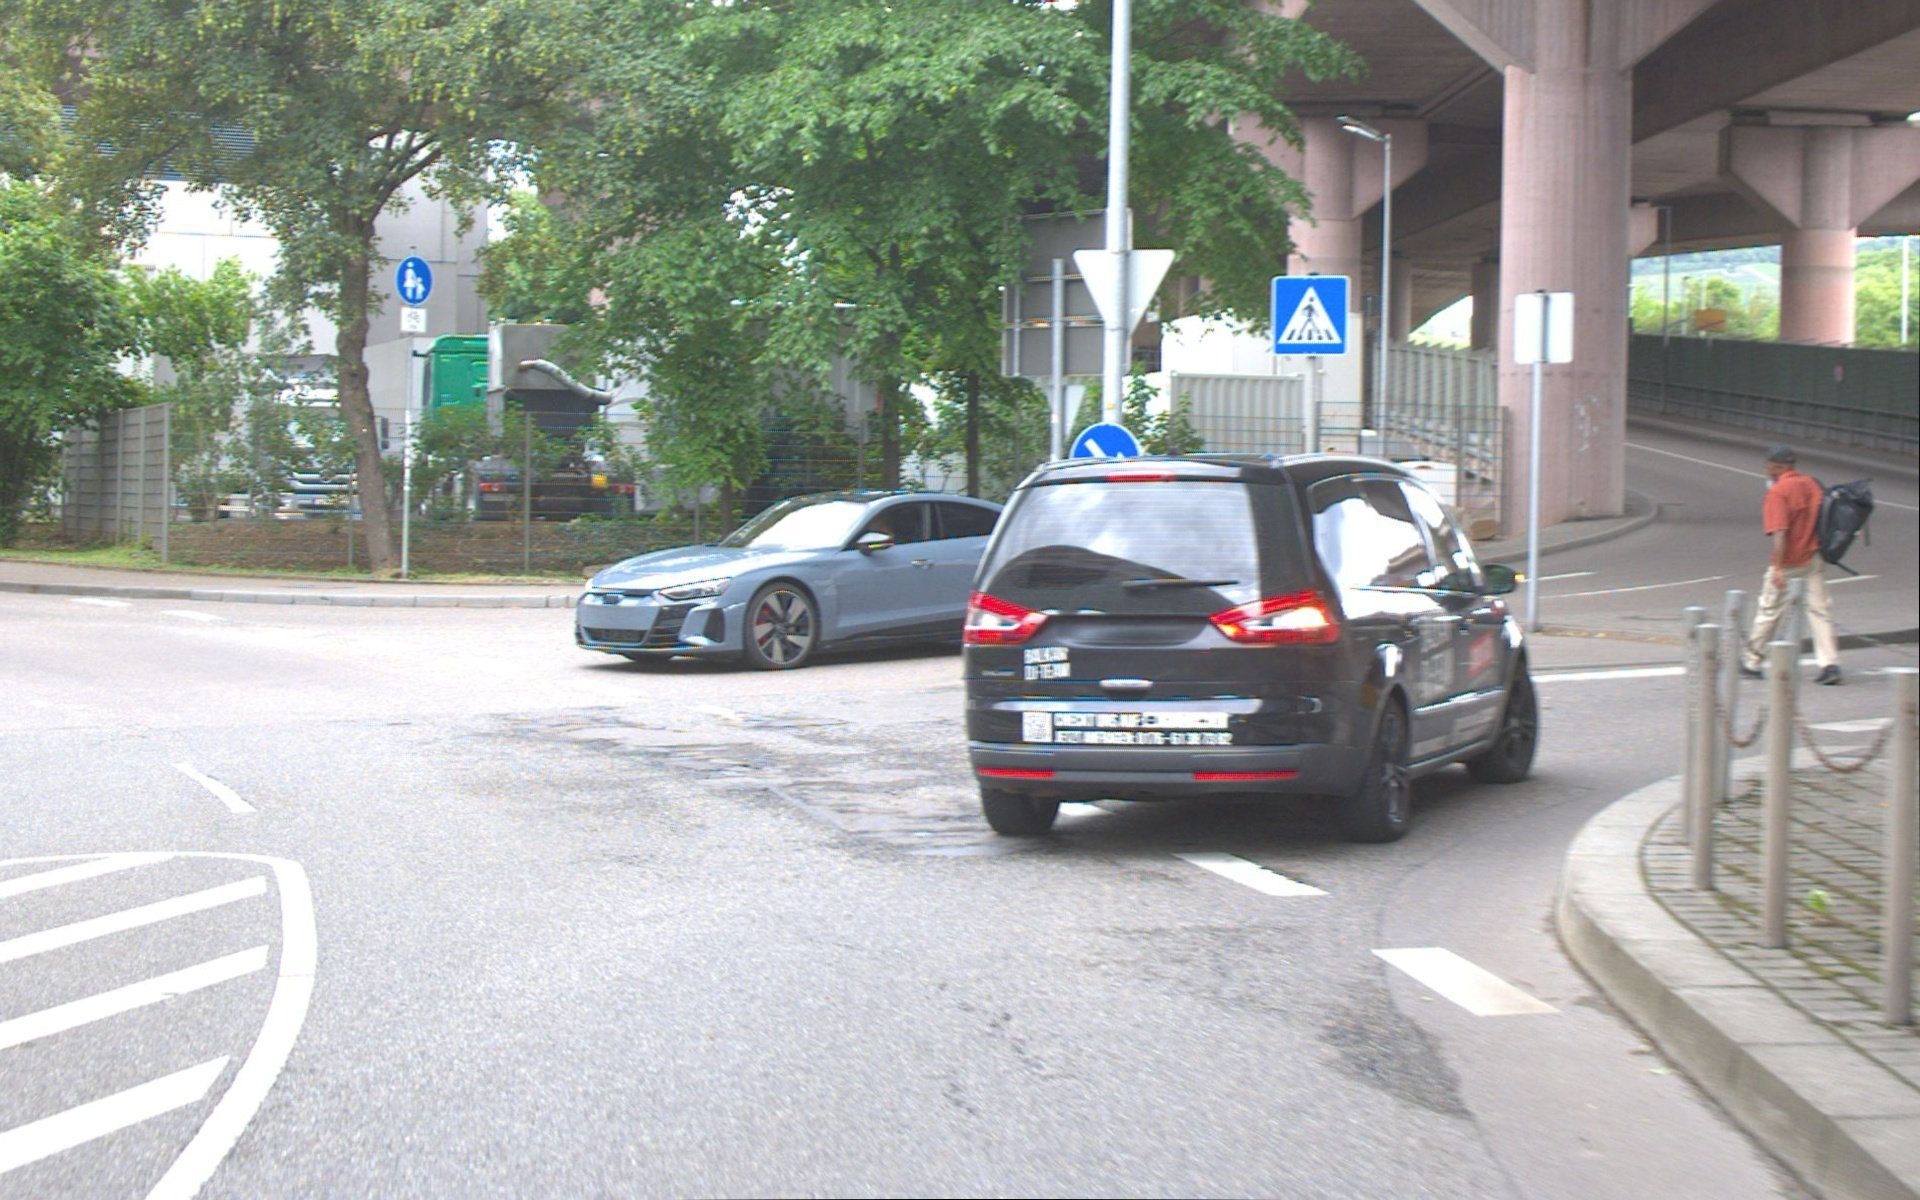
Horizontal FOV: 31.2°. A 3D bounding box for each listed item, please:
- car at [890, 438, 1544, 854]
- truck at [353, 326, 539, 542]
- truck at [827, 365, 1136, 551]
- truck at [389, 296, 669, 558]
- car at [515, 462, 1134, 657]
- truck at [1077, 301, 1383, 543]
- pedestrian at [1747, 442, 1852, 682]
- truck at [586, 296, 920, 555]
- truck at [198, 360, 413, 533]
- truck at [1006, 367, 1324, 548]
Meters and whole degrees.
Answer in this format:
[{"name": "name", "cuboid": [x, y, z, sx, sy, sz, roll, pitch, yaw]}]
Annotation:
[{"name": "car", "cuboid": [1.394, 0.120, 16.301, 1.995, 1.673, 4.556, 0, 2, 19]}, {"name": "truck", "cuboid": [-12.037, -3.915, 79.969, 3.202, 4.763, 8.052, -1, 4, -16]}, {"name": "truck", "cuboid": [0.237, -2.429, 57.044, 2.914, 2.888, 6.561, -1, 4, -21]}, {"name": "truck", "cuboid": [-7.099, -2.814, 55.723, 3.065, 3.949, 6.926, -2, 3, -19]}, {"name": "car", "cuboid": [-1.059, -0.387, 28.788, 4.918, 1.496, 2.172, -2, 2, -42]}, {"name": "truck", "cuboid": [4.973, -3.420, 65.415, 3.065, 4.284, 8.052, -1, 4, -17]}, {"name": "pedestrian", "cuboid": [5.935, -0.278, 24.315, 0.536, 1.670, 0.558, -1, 3, -12]}, {"name": "truck", "cuboid": [-3.503, -2.865, 55.614, 3.065, 3.854, 8.051, -1, 4, -21]}, {"name": "truck", "cuboid": [-14.601, -3.477, 76.150, 3.054, 3.606, 7.918, -1, 4, -23]}, {"name": "truck", "cuboid": [3.359, -2.492, 58.436, 2.914, 2.888, 6.561, -1, 4, -21]}]
